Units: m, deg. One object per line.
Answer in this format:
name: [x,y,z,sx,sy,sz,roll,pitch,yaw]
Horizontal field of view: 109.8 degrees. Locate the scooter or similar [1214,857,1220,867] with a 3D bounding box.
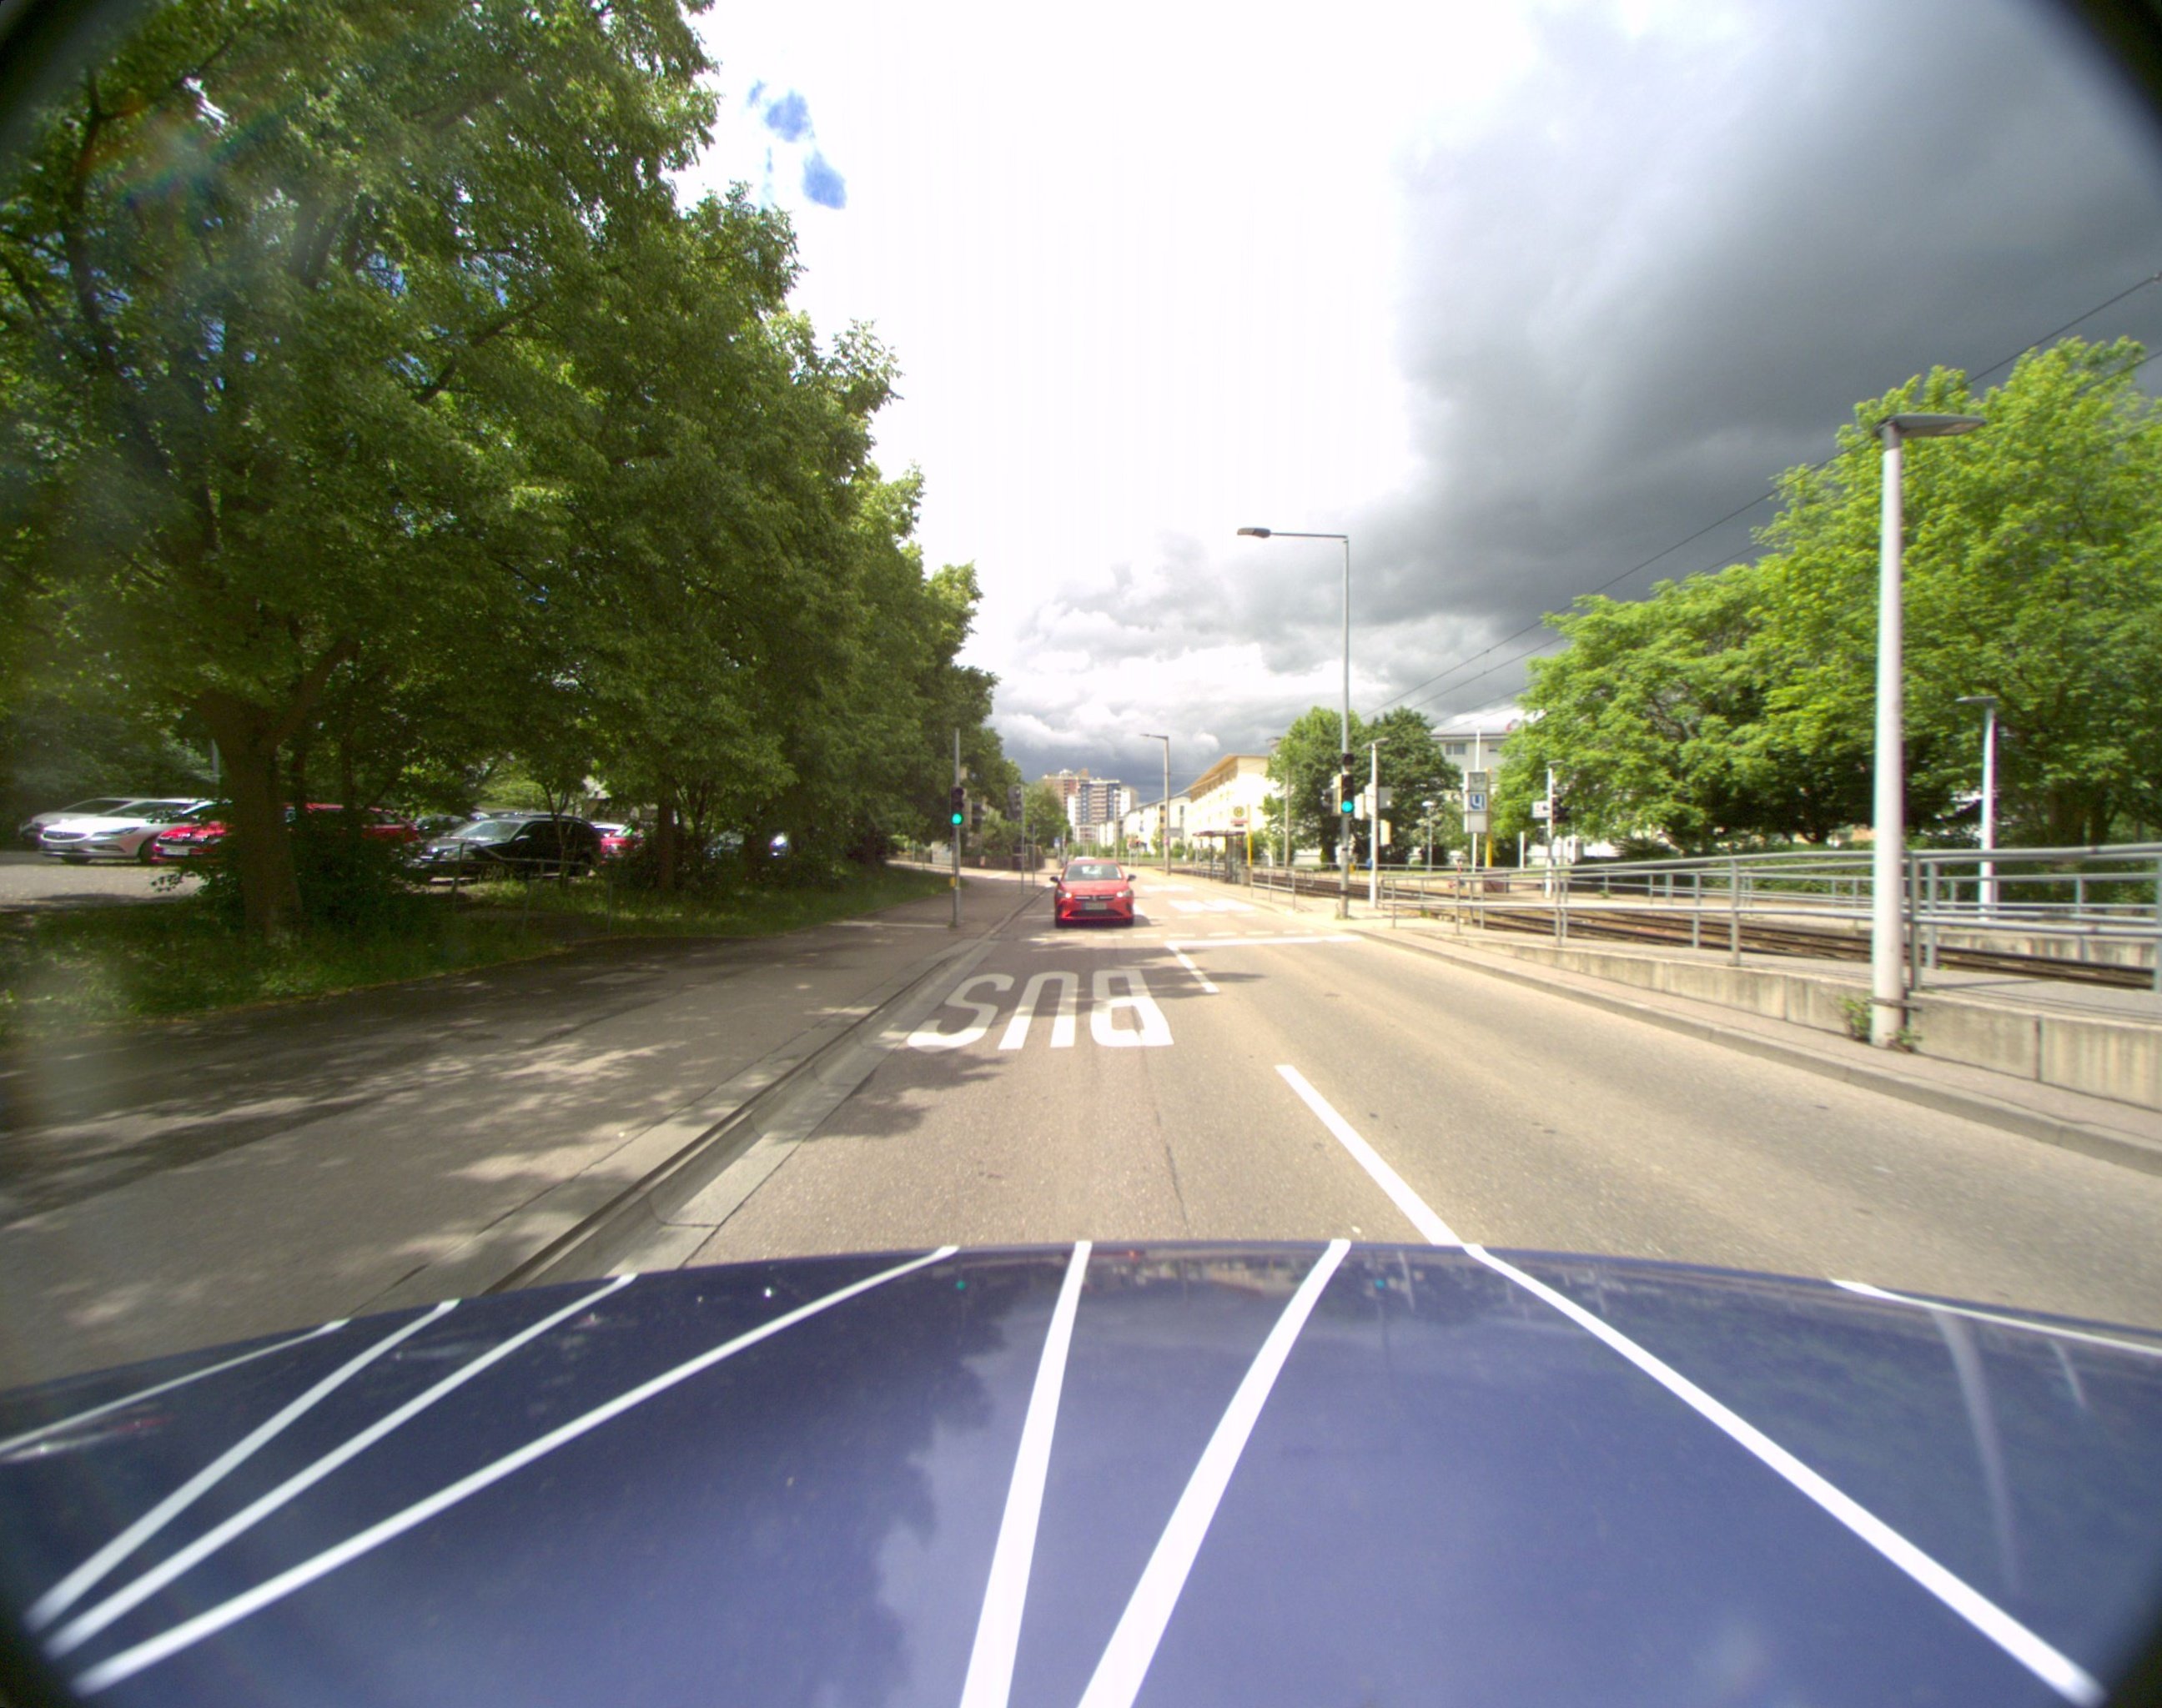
scooter or similar: [16.135,0.952,90.125,0.609,1.156,0.892,-1,0,1]

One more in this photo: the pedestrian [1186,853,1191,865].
pedestrian: [15.108,0.670,107.066,0.605,1.598,0.773,-2,1,-1]

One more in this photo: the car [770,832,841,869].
car: [-11.946,-0.197,33.192,1.828,1.503,3.812,1,2,-2]

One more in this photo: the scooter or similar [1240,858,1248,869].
scooter or similar: [16.493,0.922,76.821,0.606,1.108,0.821,-1,1,-1]

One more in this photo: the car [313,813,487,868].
car: [-20.077,-0.366,22.651,1.759,1.433,3.859,3,0,-2]

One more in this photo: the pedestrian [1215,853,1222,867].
pedestrian: [16.139,0.721,89.328,0.647,1.683,0.679,-1,1,0]

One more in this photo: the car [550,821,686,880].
car: [-13.352,-0.098,22.173,1.665,1.492,3.662,2,0,1]

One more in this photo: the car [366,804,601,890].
car: [-12.379,-0.126,16.136,1.631,1.505,4.138,3,0,1]

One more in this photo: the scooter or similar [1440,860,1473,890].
scooter or similar: [15.631,0.864,31.668,0.651,1.229,1.401,-2,-1,1]

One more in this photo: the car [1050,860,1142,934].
car: [0.227,0.905,17.768,1.784,1.433,4.130,-2,0,-3]

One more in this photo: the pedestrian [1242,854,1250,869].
pedestrian: [16.505,0.722,75.964,0.614,1.531,0.874,-1,1,-1]

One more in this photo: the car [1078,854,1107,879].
car: [0.692,0.755,46.359,1.499,1.477,3.519,0,0,-3]

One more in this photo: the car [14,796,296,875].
car: [-19.899,-0.365,16.597,1.635,1.469,3.662,2,0,1]

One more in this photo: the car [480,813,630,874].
car: [-15.178,-0.277,22.192,1.756,1.573,3.662,2,0,1]

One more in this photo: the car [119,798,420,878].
car: [-17.583,-0.318,16.883,1.756,1.469,4.544,2,0,1]

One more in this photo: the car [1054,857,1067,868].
car: [-2.961,1.189,110.883,1.760,1.570,4.020,0,0,-3]

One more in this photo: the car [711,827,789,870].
car: [-14.092,-0.259,32.571,1.683,1.626,3.904,4,1,-2]

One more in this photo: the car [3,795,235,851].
car: [-25.941,-0.788,20.711,1.635,1.320,3.662,2,0,1]
